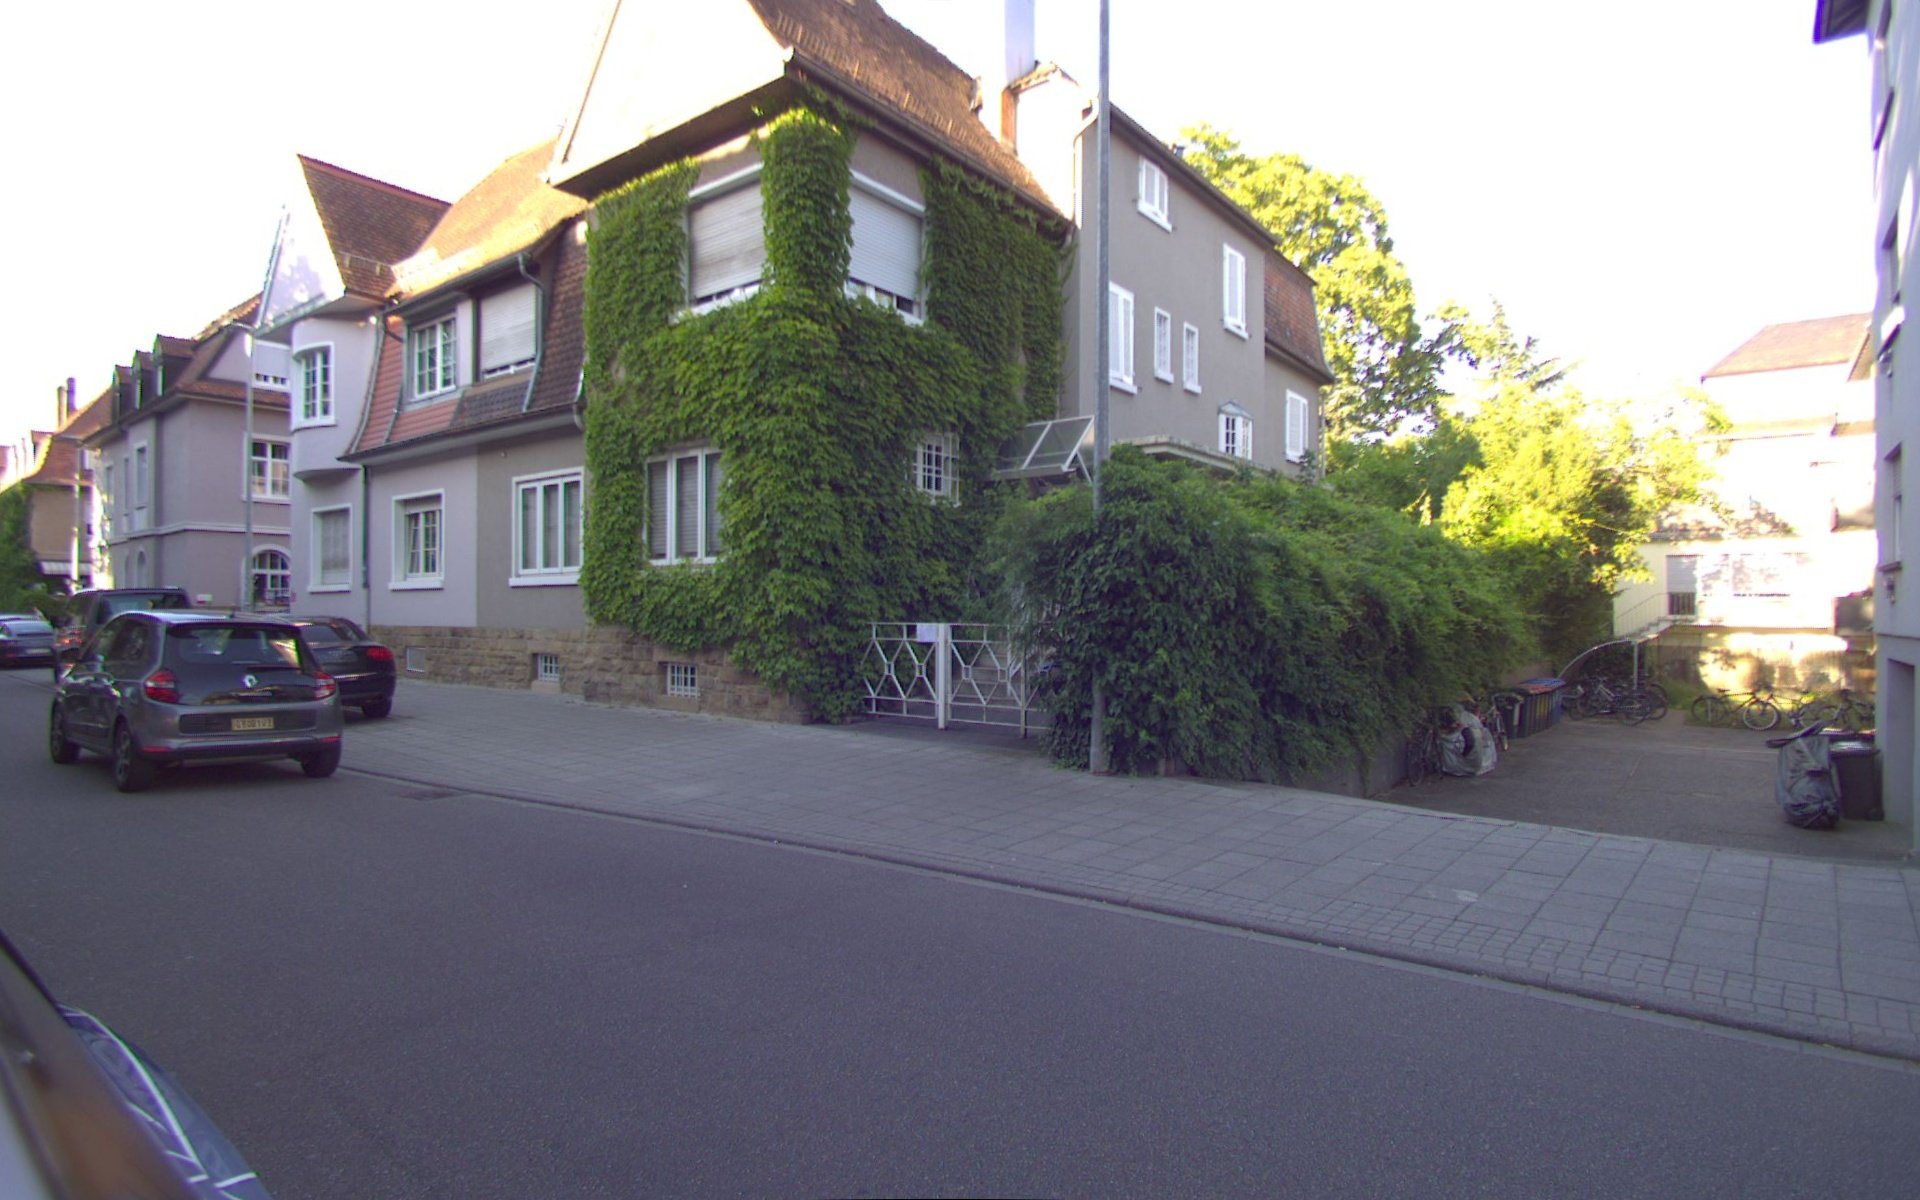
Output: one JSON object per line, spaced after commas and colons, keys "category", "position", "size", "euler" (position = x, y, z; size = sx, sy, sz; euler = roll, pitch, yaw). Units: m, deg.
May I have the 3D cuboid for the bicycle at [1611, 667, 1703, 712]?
{"category": "bicycle", "position": [19.426, 2.479, 28.241], "size": [2.068, 1.028, 0.561], "euler": [1, 3, 41]}

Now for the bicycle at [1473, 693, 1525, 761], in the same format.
{"category": "bicycle", "position": [9.965, 2.319, 18.670], "size": [0.514, 1.027, 1.914], "euler": [1, 0, 38]}

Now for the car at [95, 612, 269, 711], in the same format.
{"category": "car", "position": [-13.856, 0.995, 17.952], "size": [4.021, 1.475, 1.591], "euler": [0, 2, 40]}

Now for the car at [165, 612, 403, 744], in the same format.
{"category": "car", "position": [-9.324, 0.936, 13.841], "size": [4.023, 1.439, 1.729], "euler": [0, 2, 42]}

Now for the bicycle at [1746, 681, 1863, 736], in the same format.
{"category": "bicycle", "position": [19.646, 2.511, 23.583], "size": [2.068, 1.028, 0.634], "euler": [1, 3, 41]}

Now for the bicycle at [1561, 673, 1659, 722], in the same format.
{"category": "bicycle", "position": [16.846, 2.513, 26.268], "size": [2.068, 1.028, 0.565], "euler": [1, 3, 41]}

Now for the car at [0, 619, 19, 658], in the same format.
{"category": "car", "position": [-36.514, 1.439, 37.672], "size": [3.942, 1.381, 1.698], "euler": [-1, 1, 40]}

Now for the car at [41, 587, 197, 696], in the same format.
{"category": "car", "position": [-17.460, 0.784, 20.953], "size": [4.308, 1.987, 1.698], "euler": [0, 2, 40]}

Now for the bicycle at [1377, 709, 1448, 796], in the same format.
{"category": "bicycle", "position": [6.790, 2.243, 15.148], "size": [0.514, 1.027, 1.914], "euler": [1, 0, 38]}

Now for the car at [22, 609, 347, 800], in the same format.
{"category": "car", "position": [-7.560, 0.885, 9.774], "size": [3.587, 1.513, 1.600], "euler": [-1, -3, 38]}

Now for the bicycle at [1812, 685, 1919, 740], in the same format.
{"category": "bicycle", "position": [20.551, 2.522, 22.779], "size": [2.068, 1.028, 0.634], "euler": [1, 3, 41]}

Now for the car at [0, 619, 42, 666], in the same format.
{"category": "car", "position": [-30.366, 1.333, 31.941], "size": [3.942, 1.381, 1.522], "euler": [-1, 1, 40]}

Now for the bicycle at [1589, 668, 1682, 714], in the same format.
{"category": "bicycle", "position": [18.624, 2.490, 27.936], "size": [2.068, 1.028, 0.608], "euler": [1, 3, 41]}

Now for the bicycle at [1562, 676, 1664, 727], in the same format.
{"category": "bicycle", "position": [16.282, 2.521, 25.256], "size": [2.068, 1.028, 0.634], "euler": [1, 3, 41]}

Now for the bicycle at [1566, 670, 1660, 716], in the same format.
{"category": "bicycle", "position": [17.707, 2.502, 27.470], "size": [2.068, 1.028, 0.608], "euler": [1, 3, 41]}

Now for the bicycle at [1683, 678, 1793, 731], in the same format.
{"category": "bicycle", "position": [18.723, 2.489, 24.391], "size": [2.068, 1.028, 0.634], "euler": [1, 3, 41]}

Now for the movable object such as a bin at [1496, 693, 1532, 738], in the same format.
{"category": "movable object such as a bin", "position": [11.551, 2.400, 21.094], "size": [0.576, 0.886, 0.488], "euler": [0, -3, 41]}

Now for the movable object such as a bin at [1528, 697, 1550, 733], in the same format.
{"category": "movable object such as a bin", "position": [13.029, 2.587, 22.763], "size": [0.375, 0.764, 0.359], "euler": [-1, -4, 41]}

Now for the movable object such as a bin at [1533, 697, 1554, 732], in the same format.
{"category": "movable object such as a bin", "position": [13.292, 2.606, 23.056], "size": [0.367, 0.764, 0.359], "euler": [-1, -4, 41]}

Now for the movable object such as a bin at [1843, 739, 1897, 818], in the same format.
{"category": "movable object such as a bin", "position": [11.769, 2.295, 13.096], "size": [0.432, 0.894, 0.717], "euler": [-1, -3, 37]}

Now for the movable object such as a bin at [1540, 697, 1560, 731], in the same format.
{"category": "movable object such as a bin", "position": [13.795, 2.652, 23.661], "size": [0.346, 0.764, 0.359], "euler": [-1, -4, 41]}

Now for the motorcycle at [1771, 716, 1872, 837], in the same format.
{"category": "motorcycle", "position": [10.713, 2.148, 12.635], "size": [0.757, 1.261, 1.575], "euler": [-1, -3, 34]}

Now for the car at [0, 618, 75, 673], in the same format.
{"category": "car", "position": [-26.392, 1.229, 28.389], "size": [4.331, 1.381, 1.698], "euler": [-1, 1, 40]}

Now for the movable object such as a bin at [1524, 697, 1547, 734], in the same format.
{"category": "movable object such as a bin", "position": [12.778, 2.562, 22.462], "size": [0.381, 0.779, 0.359], "euler": [-1, -4, 41]}

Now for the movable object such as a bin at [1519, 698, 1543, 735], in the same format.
{"category": "movable object such as a bin", "position": [12.508, 2.539, 22.158], "size": [0.398, 0.779, 0.359], "euler": [-1, -4, 41]}
